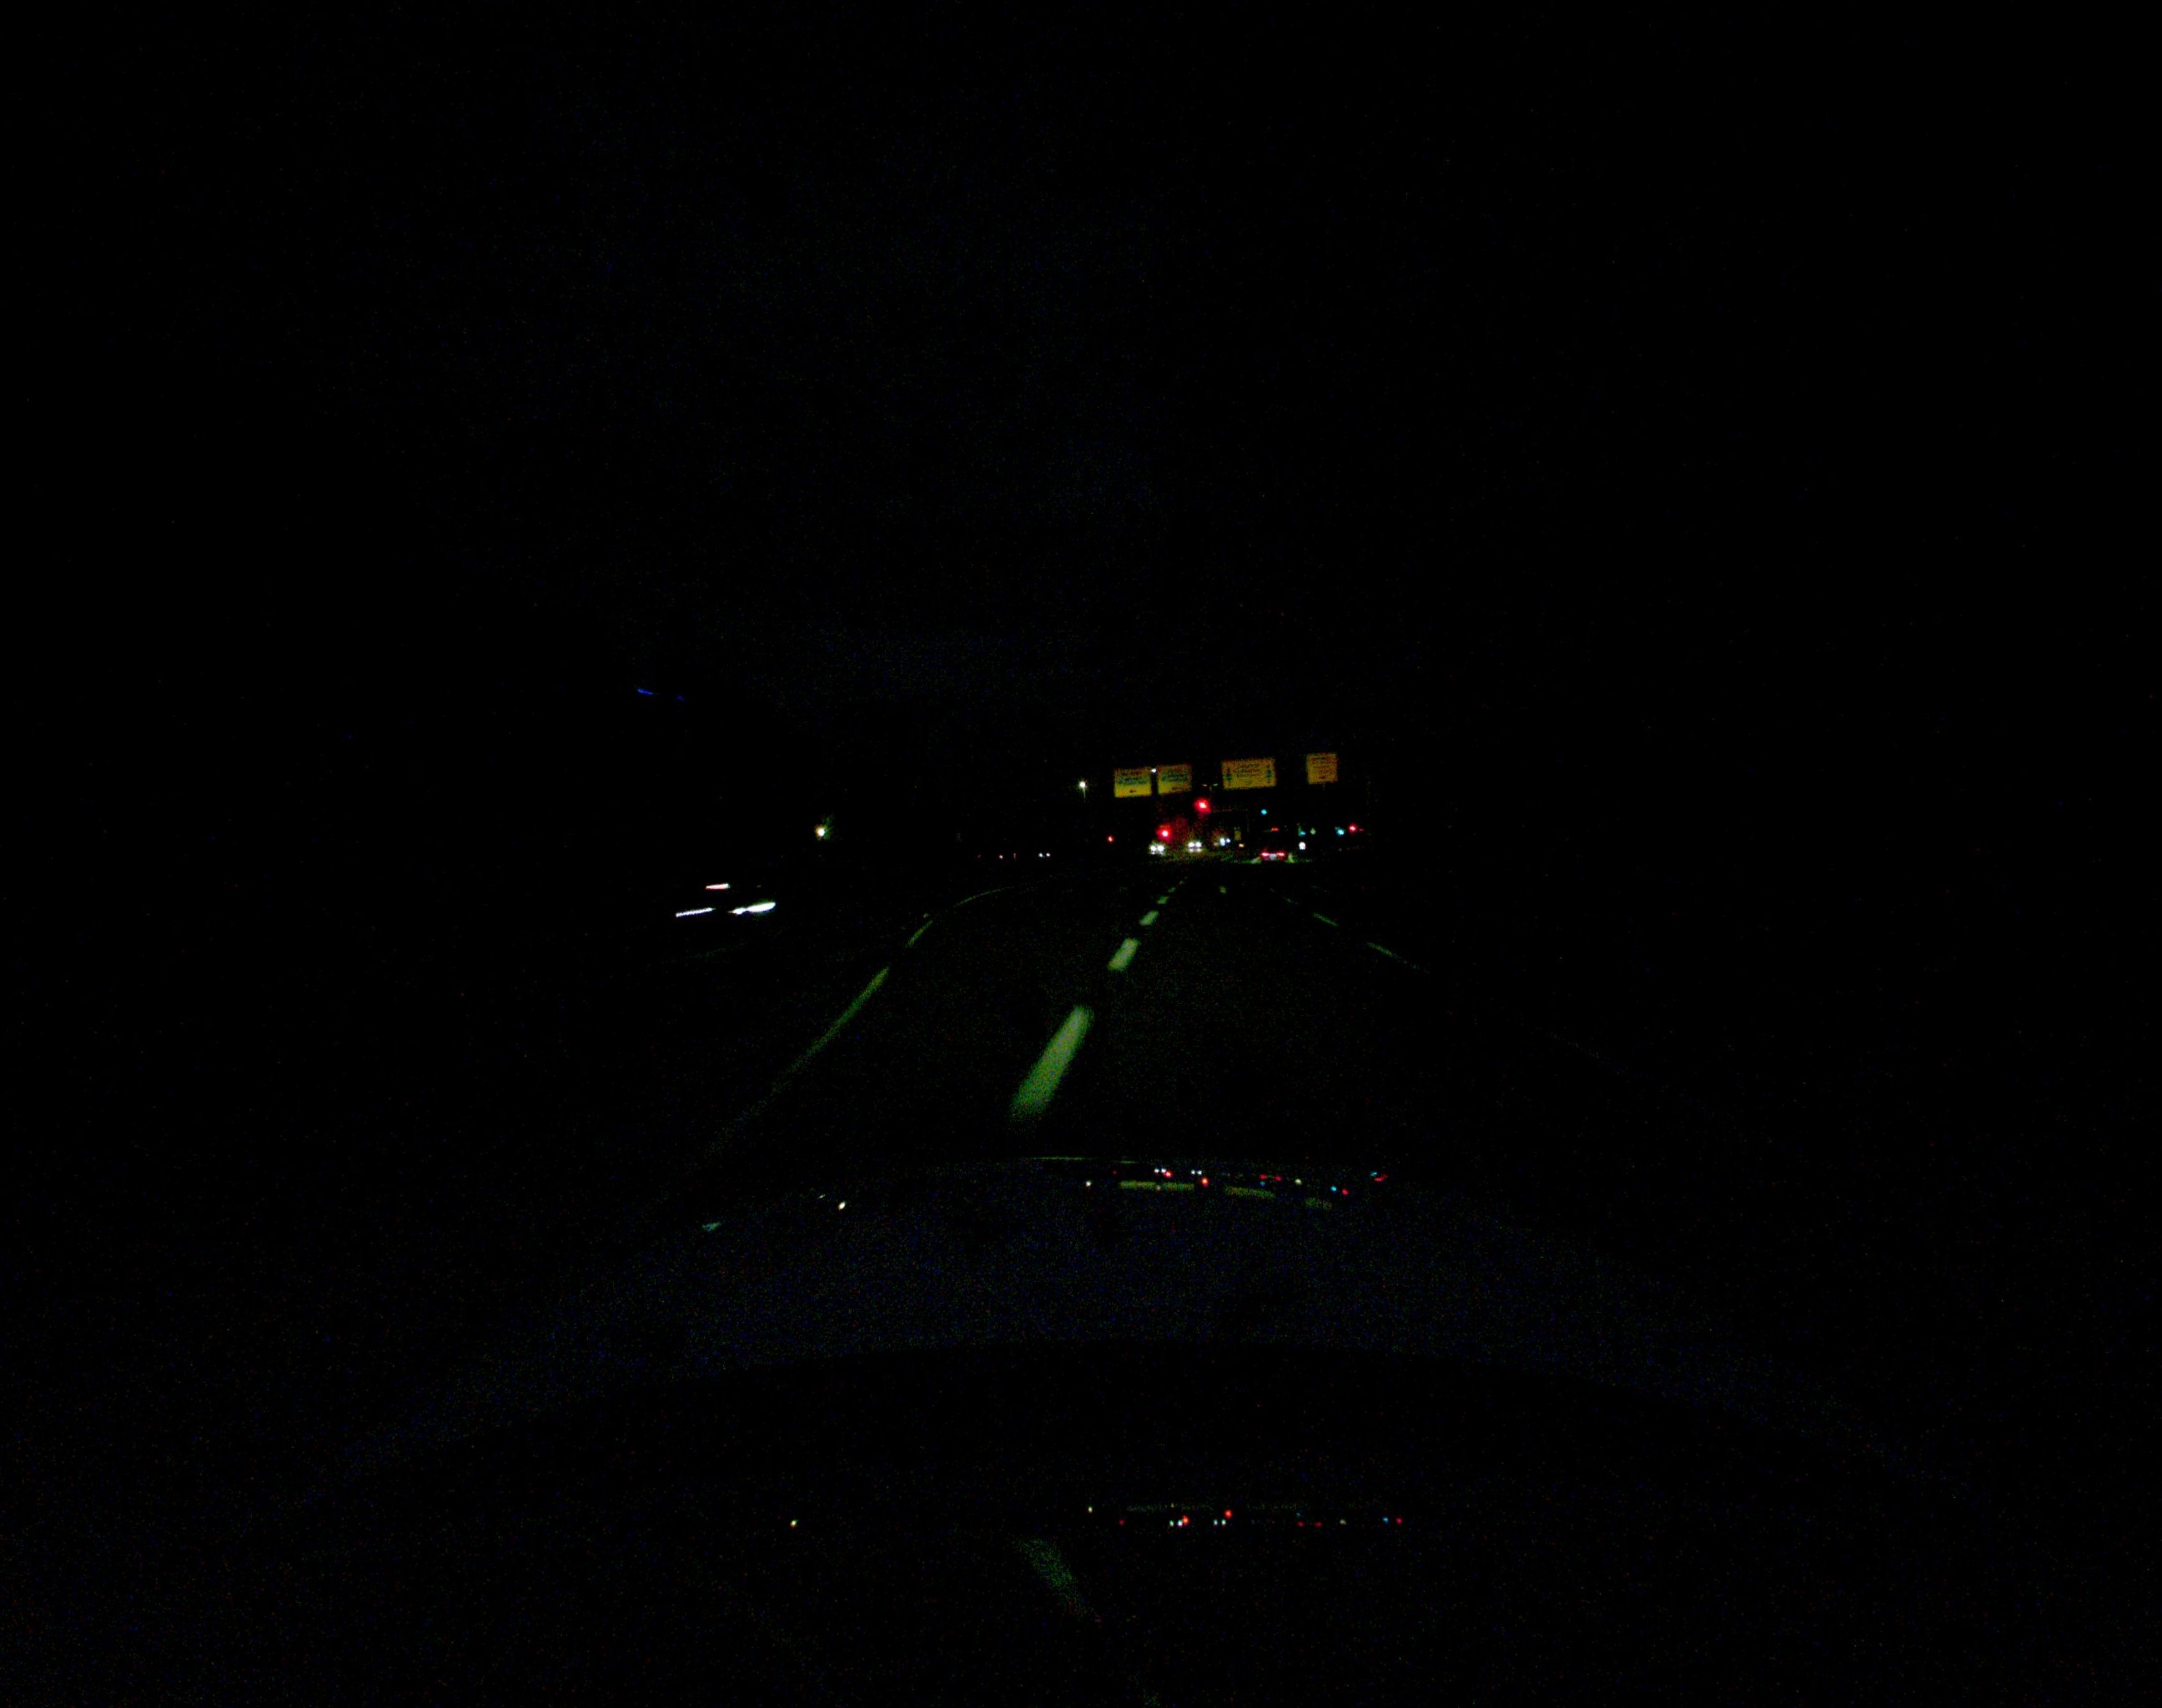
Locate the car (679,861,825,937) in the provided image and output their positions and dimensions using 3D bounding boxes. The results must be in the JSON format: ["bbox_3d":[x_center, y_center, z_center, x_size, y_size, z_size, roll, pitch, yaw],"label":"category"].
[{"bbox_3d":[-7.736,0.990,19.586,1.686,1.533,4.003,-2,0,2],"label":"car"}]

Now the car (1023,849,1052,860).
[{"bbox_3d":[-6.548,0.106,122.689,4.014,1.537,1.735,-3,0,11],"label":"car"}]

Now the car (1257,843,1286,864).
[{"bbox_3d":[15.397,-0.073,65.569,1.992,1.611,3.862,-1,0,17],"label":"car"}]

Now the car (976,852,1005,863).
[{"bbox_3d":[-13.405,0.480,120.706,3.964,1.473,1.734,-3,0,8],"label":"car"}]

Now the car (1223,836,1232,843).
[{"bbox_3d":[35.515,-3.472,197.502,1.979,1.698,4.015,-2,1,14],"label":"car"}]

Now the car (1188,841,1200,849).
[{"bbox_3d":[23.532,-1.946,169.450,1.979,1.481,4.700,-2,1,14],"label":"car"}]

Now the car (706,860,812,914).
[{"bbox_3d":[-11.033,1.070,28.274,1.693,1.623,4.311,-2,0,4],"label":"car"}]

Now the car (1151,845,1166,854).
[{"bbox_3d":[13.997,-0.785,146.567,1.979,1.425,4.549,-2,1,14],"label":"car"}]

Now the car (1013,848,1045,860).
[{"bbox_3d":[-7.589,0.007,118.573,4.283,1.537,1.736,-3,0,13],"label":"car"}]
